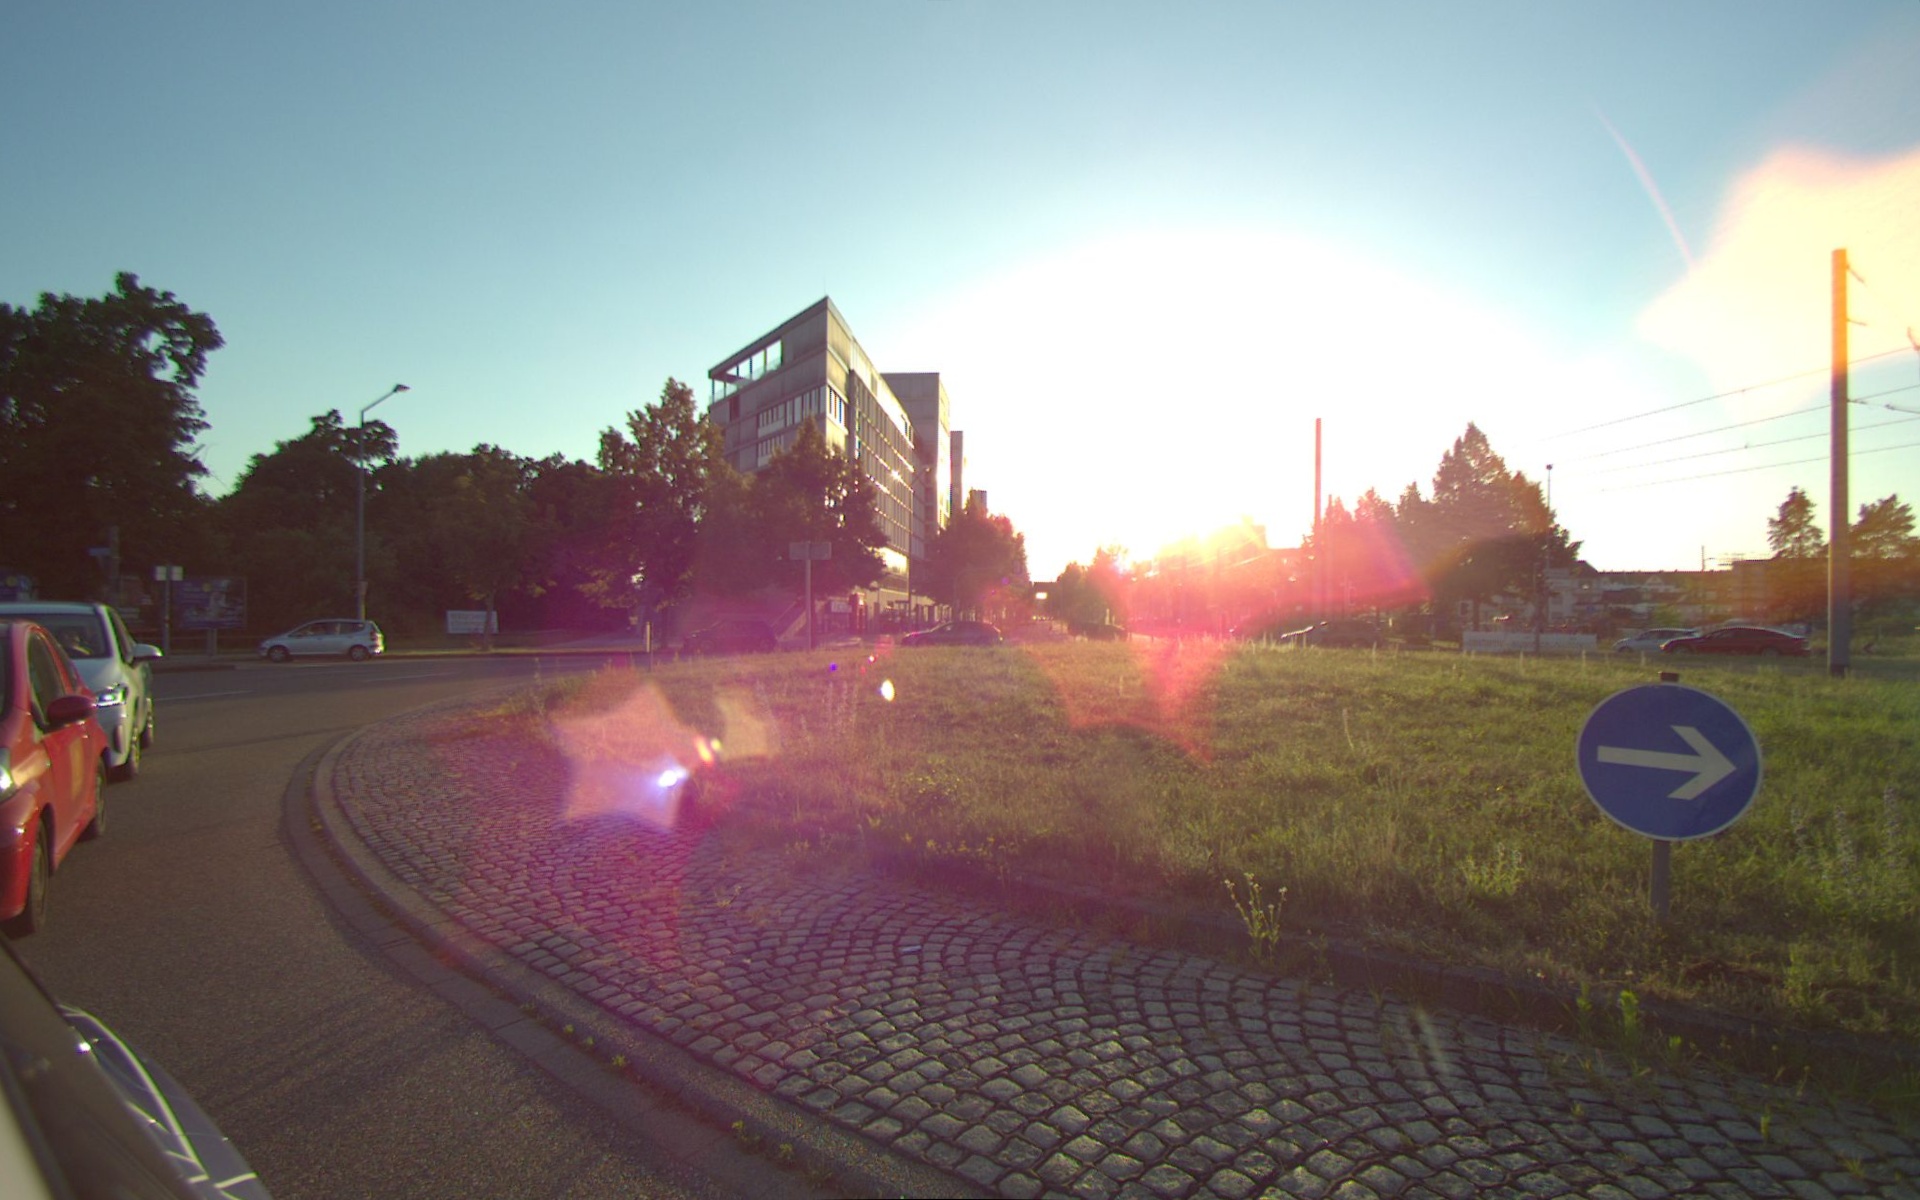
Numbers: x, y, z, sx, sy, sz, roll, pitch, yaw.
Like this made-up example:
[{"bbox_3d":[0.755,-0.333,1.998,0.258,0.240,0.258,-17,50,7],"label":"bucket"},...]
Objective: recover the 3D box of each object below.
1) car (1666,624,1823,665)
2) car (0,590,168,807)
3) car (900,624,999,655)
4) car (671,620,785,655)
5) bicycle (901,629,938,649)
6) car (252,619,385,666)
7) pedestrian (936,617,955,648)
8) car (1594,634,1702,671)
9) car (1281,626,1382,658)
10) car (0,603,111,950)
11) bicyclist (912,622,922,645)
[{"bbox_3d":[30.163,1.670,39.020,1.865,1.402,4.505,1,-1,-39],"label":"car"},{"bbox_3d":[-8.547,0.761,9.151,1.969,1.618,4.204,1,-1,-41],"label":"car"},{"bbox_3d":[-0.520,1.823,46.978,4.280,1.386,2.005,0,-1,-12],"label":"car"},{"bbox_3d":[-9.727,1.533,42.463,4.308,1.386,2.006,1,-1,-28],"label":"car"},{"bbox_3d":[-2.533,2.466,64.004,2.316,1.254,0.742,0,-1,1],"label":"bicycle"},{"bbox_3d":[-22.880,1.483,36.277,3.825,1.592,1.961,1,-1,-26],"label":"car"},{"bbox_3d":[-0.948,2.100,65.622,0.995,2.029,0.768,0,0,30],"label":"pedestrian"},{"bbox_3d":[33.326,2.518,49.082,1.969,1.634,4.005,1,-1,-42],"label":"car"},{"bbox_3d":[17.357,1.937,47.440,4.350,1.386,1.987,0,-1,19],"label":"car"},{"bbox_3d":[-5.686,0.740,5.203,1.662,1.431,4.010,1,-1,-35],"label":"car"},{"bbox_3d":[-2.711,2.141,64.029,0.603,1.451,0.691,0,-1,0],"label":"bicyclist"}]
